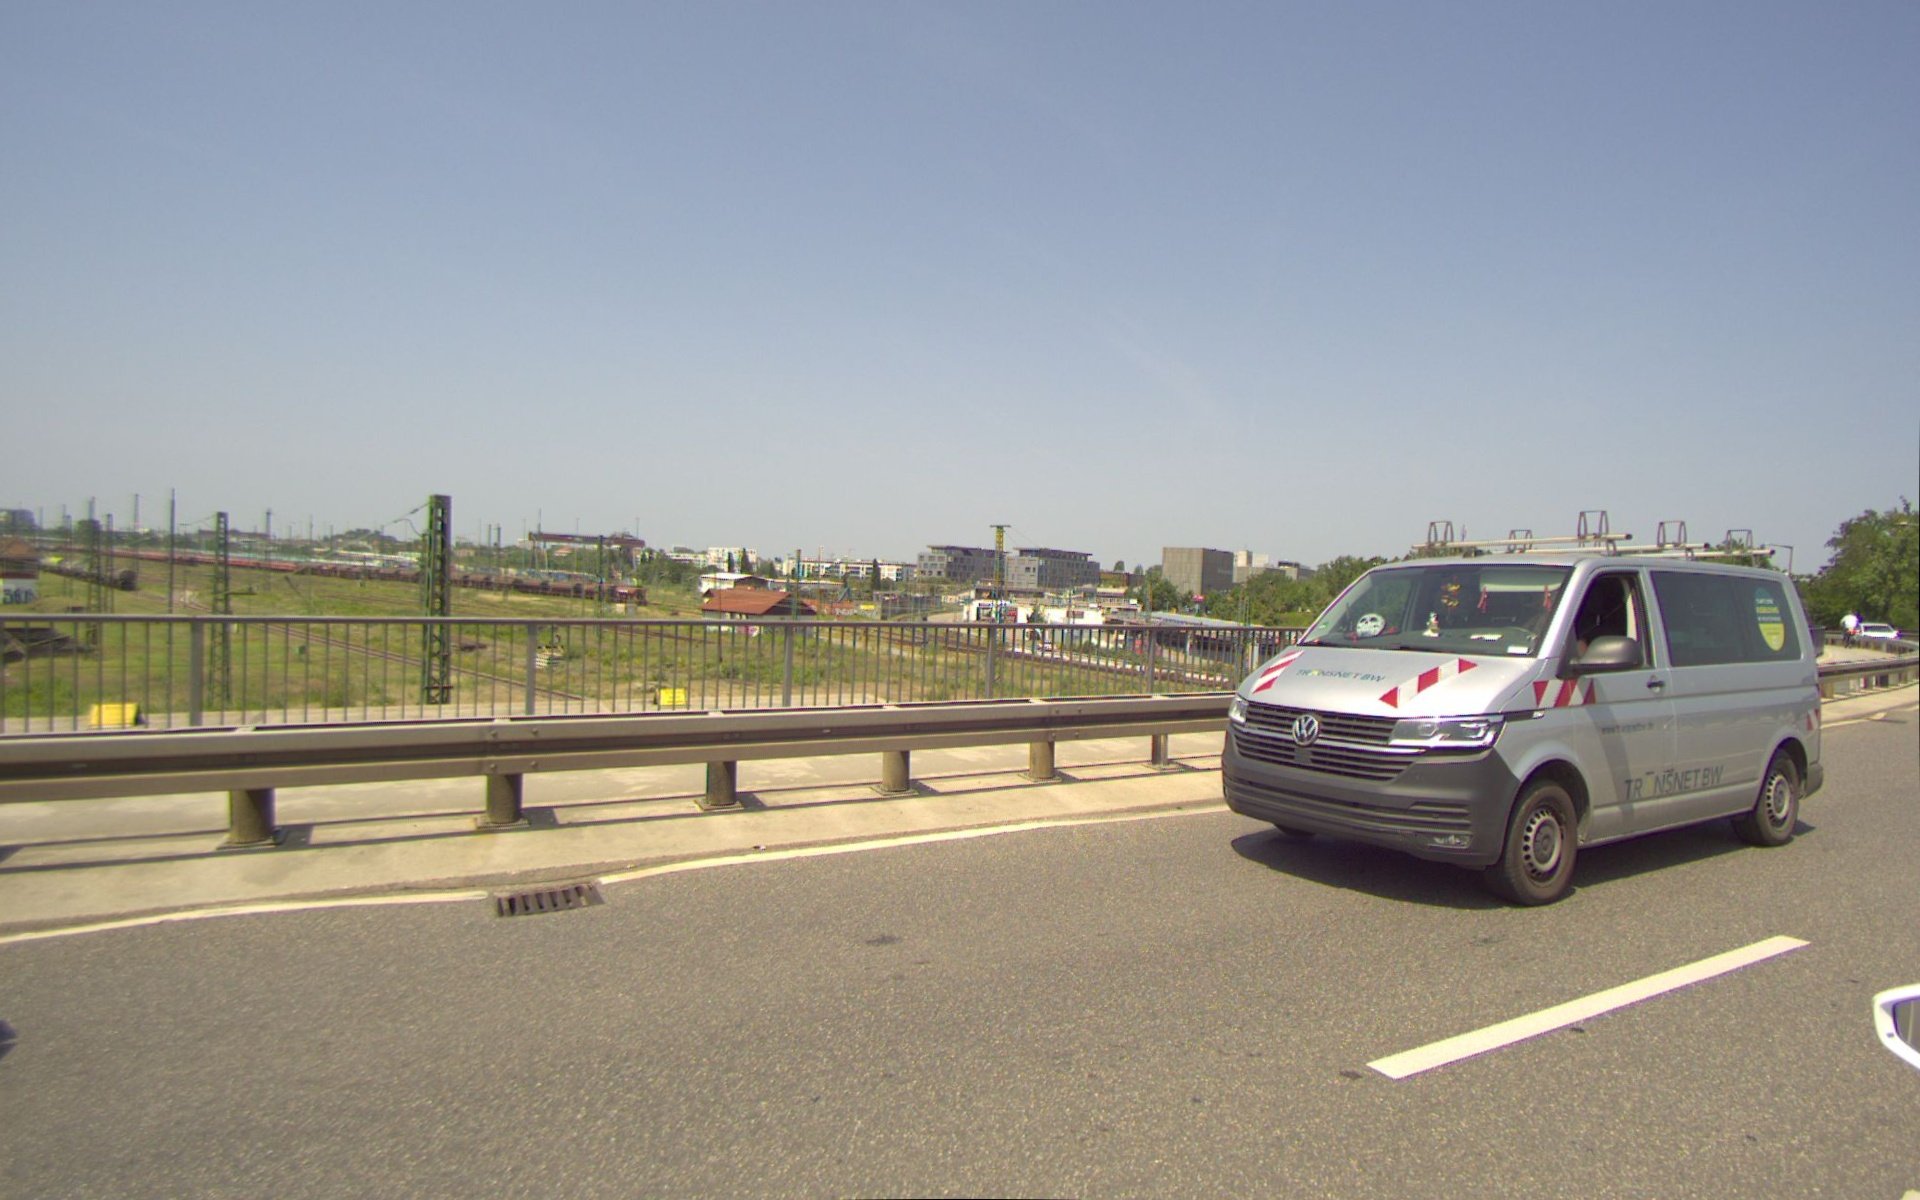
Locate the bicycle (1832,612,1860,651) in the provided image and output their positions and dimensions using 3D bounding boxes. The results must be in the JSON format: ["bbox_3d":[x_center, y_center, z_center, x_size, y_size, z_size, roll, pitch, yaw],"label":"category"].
[{"bbox_3d":[42.847,1.491,48.611,0.688,1.826,2.174,2,1,34],"label":"bicycle"}]

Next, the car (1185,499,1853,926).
[{"bbox_3d":[3.938,0.577,6.807,4.759,2.026,1.851,1,0,-31],"label":"car"}]

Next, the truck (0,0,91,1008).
[{"bbox_3d":[-5.722,-0.677,1.522,6.106,4.044,2.696,1,-1,-27],"label":"truck"}]

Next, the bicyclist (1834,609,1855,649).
[{"bbox_3d":[42.680,1.382,48.483,0.615,1.911,0.710,2,1,33],"label":"bicyclist"}]

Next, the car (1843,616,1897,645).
[{"bbox_3d":[52.229,1.730,57.712,1.641,1.484,3.478,2,1,32],"label":"car"}]
